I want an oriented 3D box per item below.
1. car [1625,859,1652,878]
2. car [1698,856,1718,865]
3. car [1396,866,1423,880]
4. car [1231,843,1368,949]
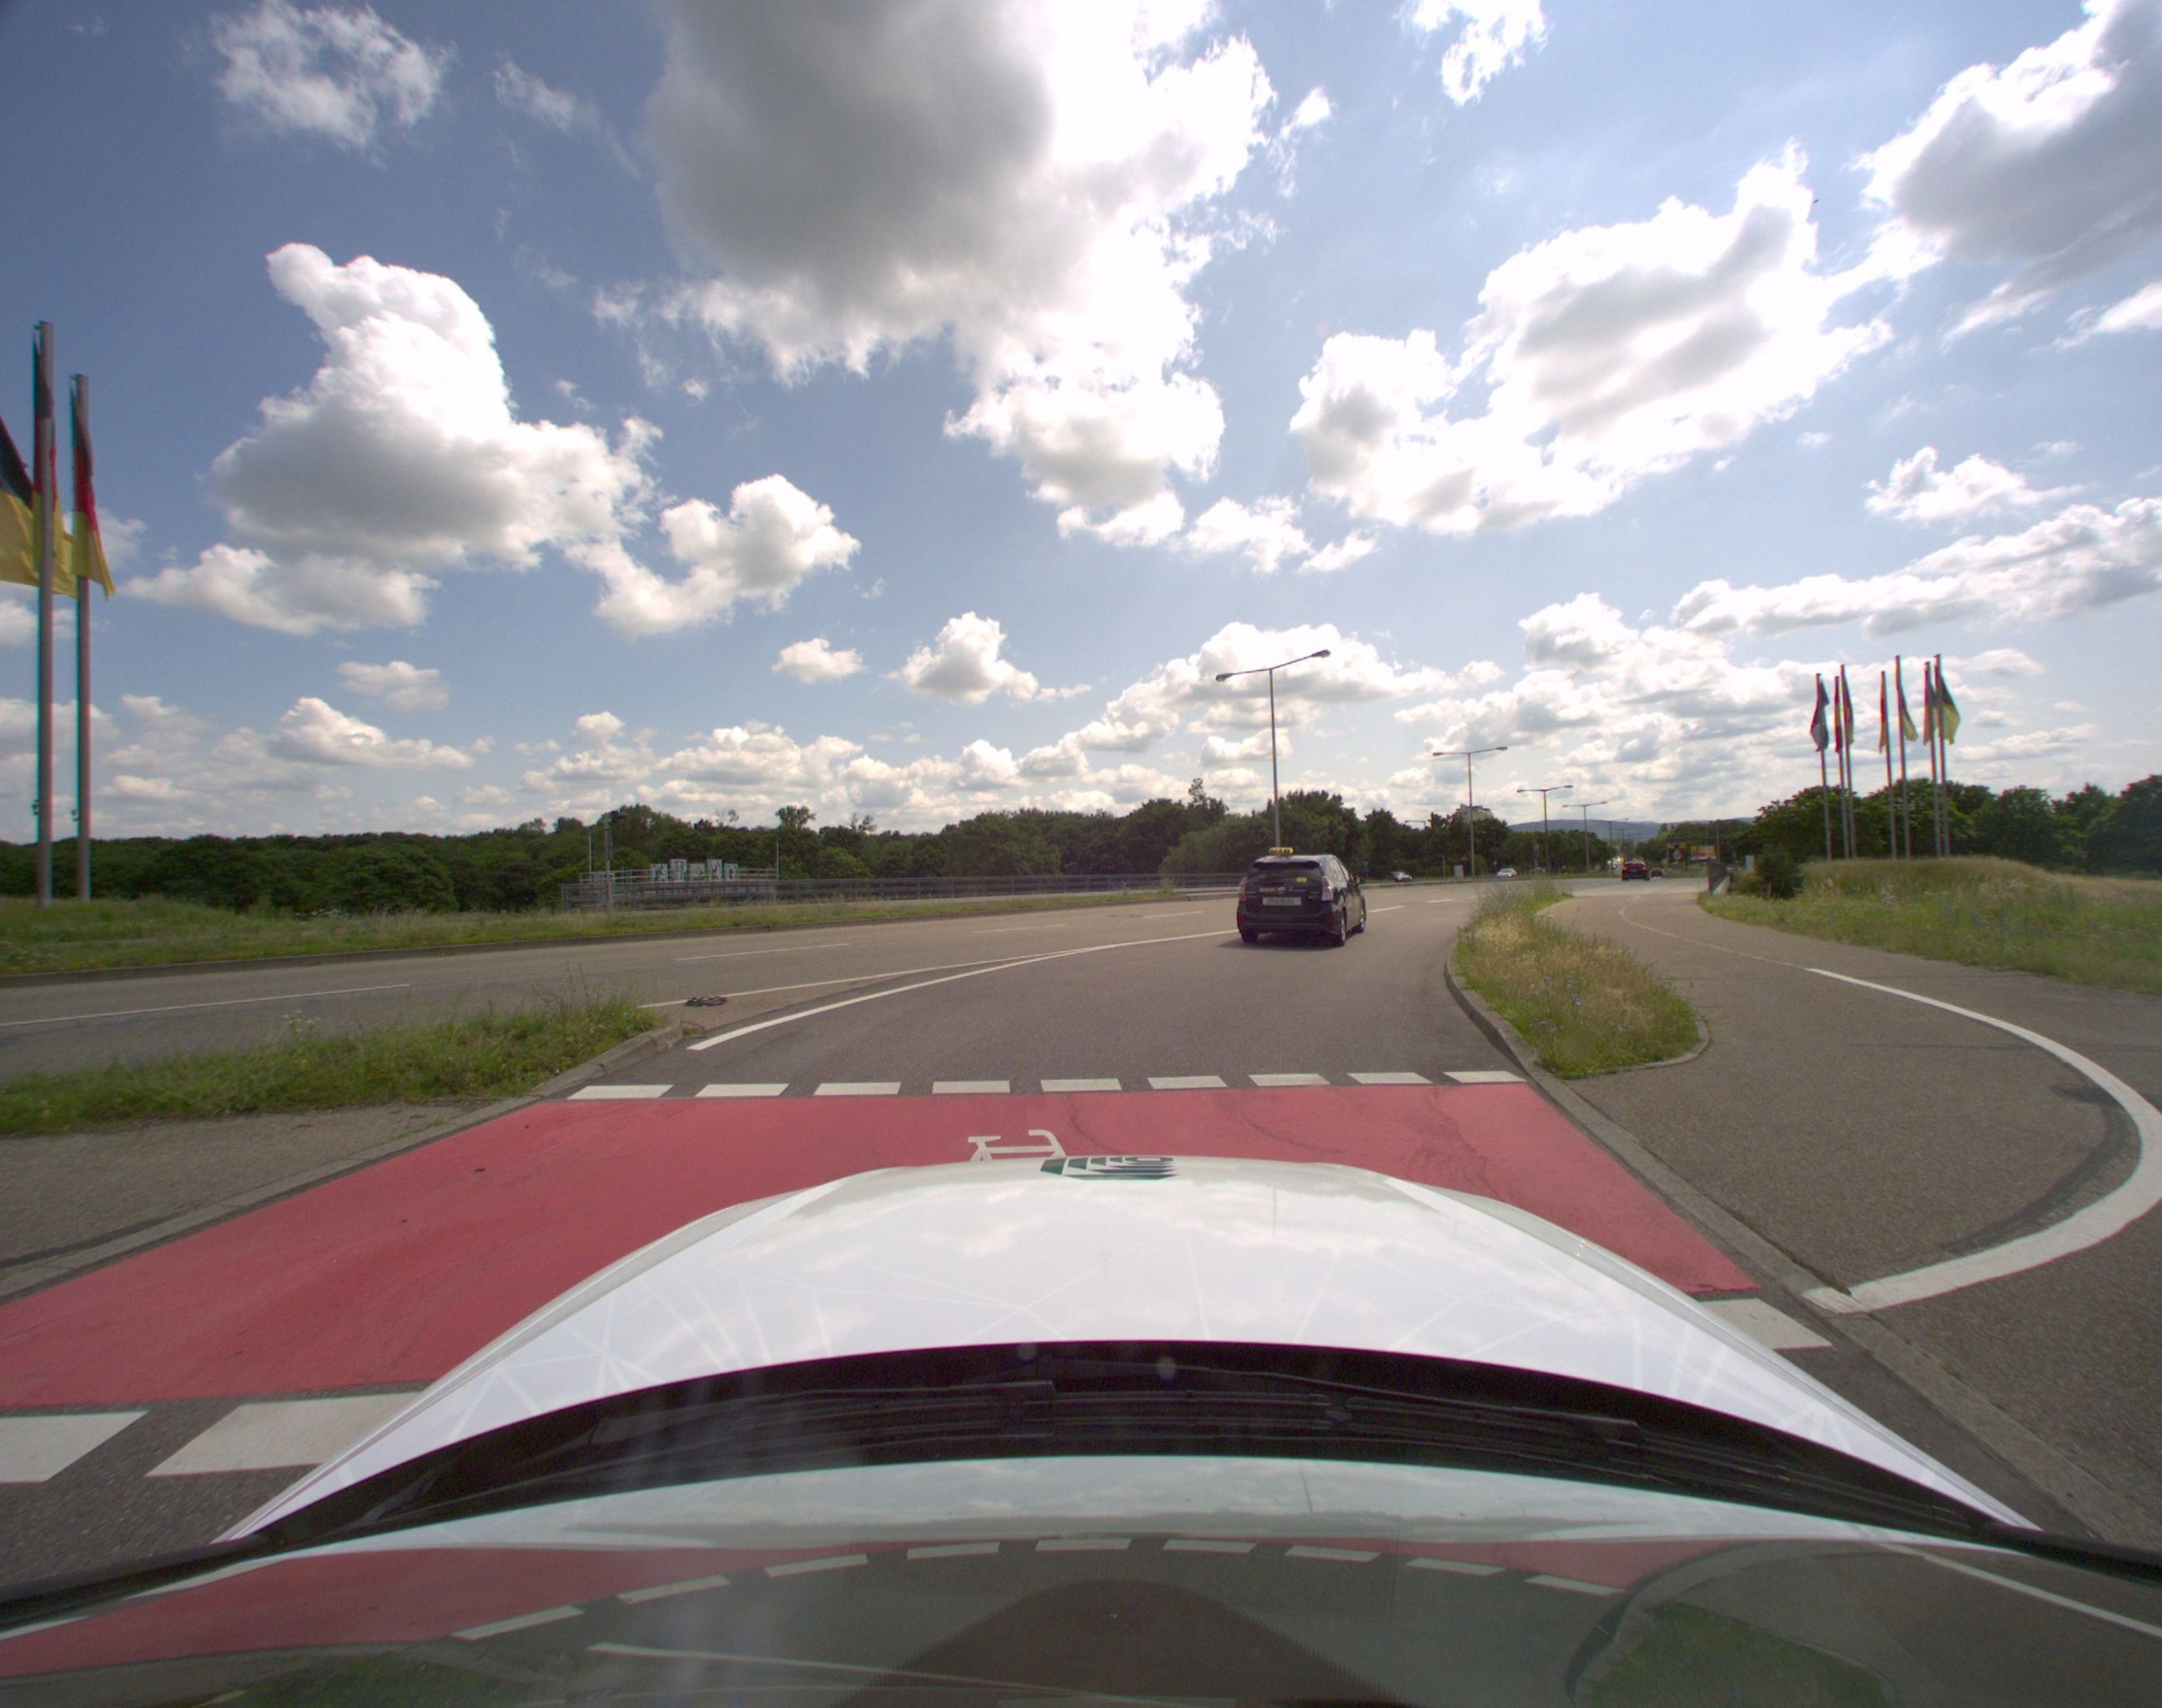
[{"bbox_3d":[51.772,1.320,75.616,1.974,1.662,4.025,-1,0,35],"label":"car"},{"bbox_3d":[130.943,1.359,169.993,1.978,1.662,4.017,-1,0,16],"label":"car"},{"bbox_3d":[41.271,2.372,102.240,2.068,1.626,4.579,-1,0,37],"label":"car"},{"bbox_3d":[4.183,0.677,15.152,1.763,1.684,4.023,-1,0,25],"label":"car"}]
